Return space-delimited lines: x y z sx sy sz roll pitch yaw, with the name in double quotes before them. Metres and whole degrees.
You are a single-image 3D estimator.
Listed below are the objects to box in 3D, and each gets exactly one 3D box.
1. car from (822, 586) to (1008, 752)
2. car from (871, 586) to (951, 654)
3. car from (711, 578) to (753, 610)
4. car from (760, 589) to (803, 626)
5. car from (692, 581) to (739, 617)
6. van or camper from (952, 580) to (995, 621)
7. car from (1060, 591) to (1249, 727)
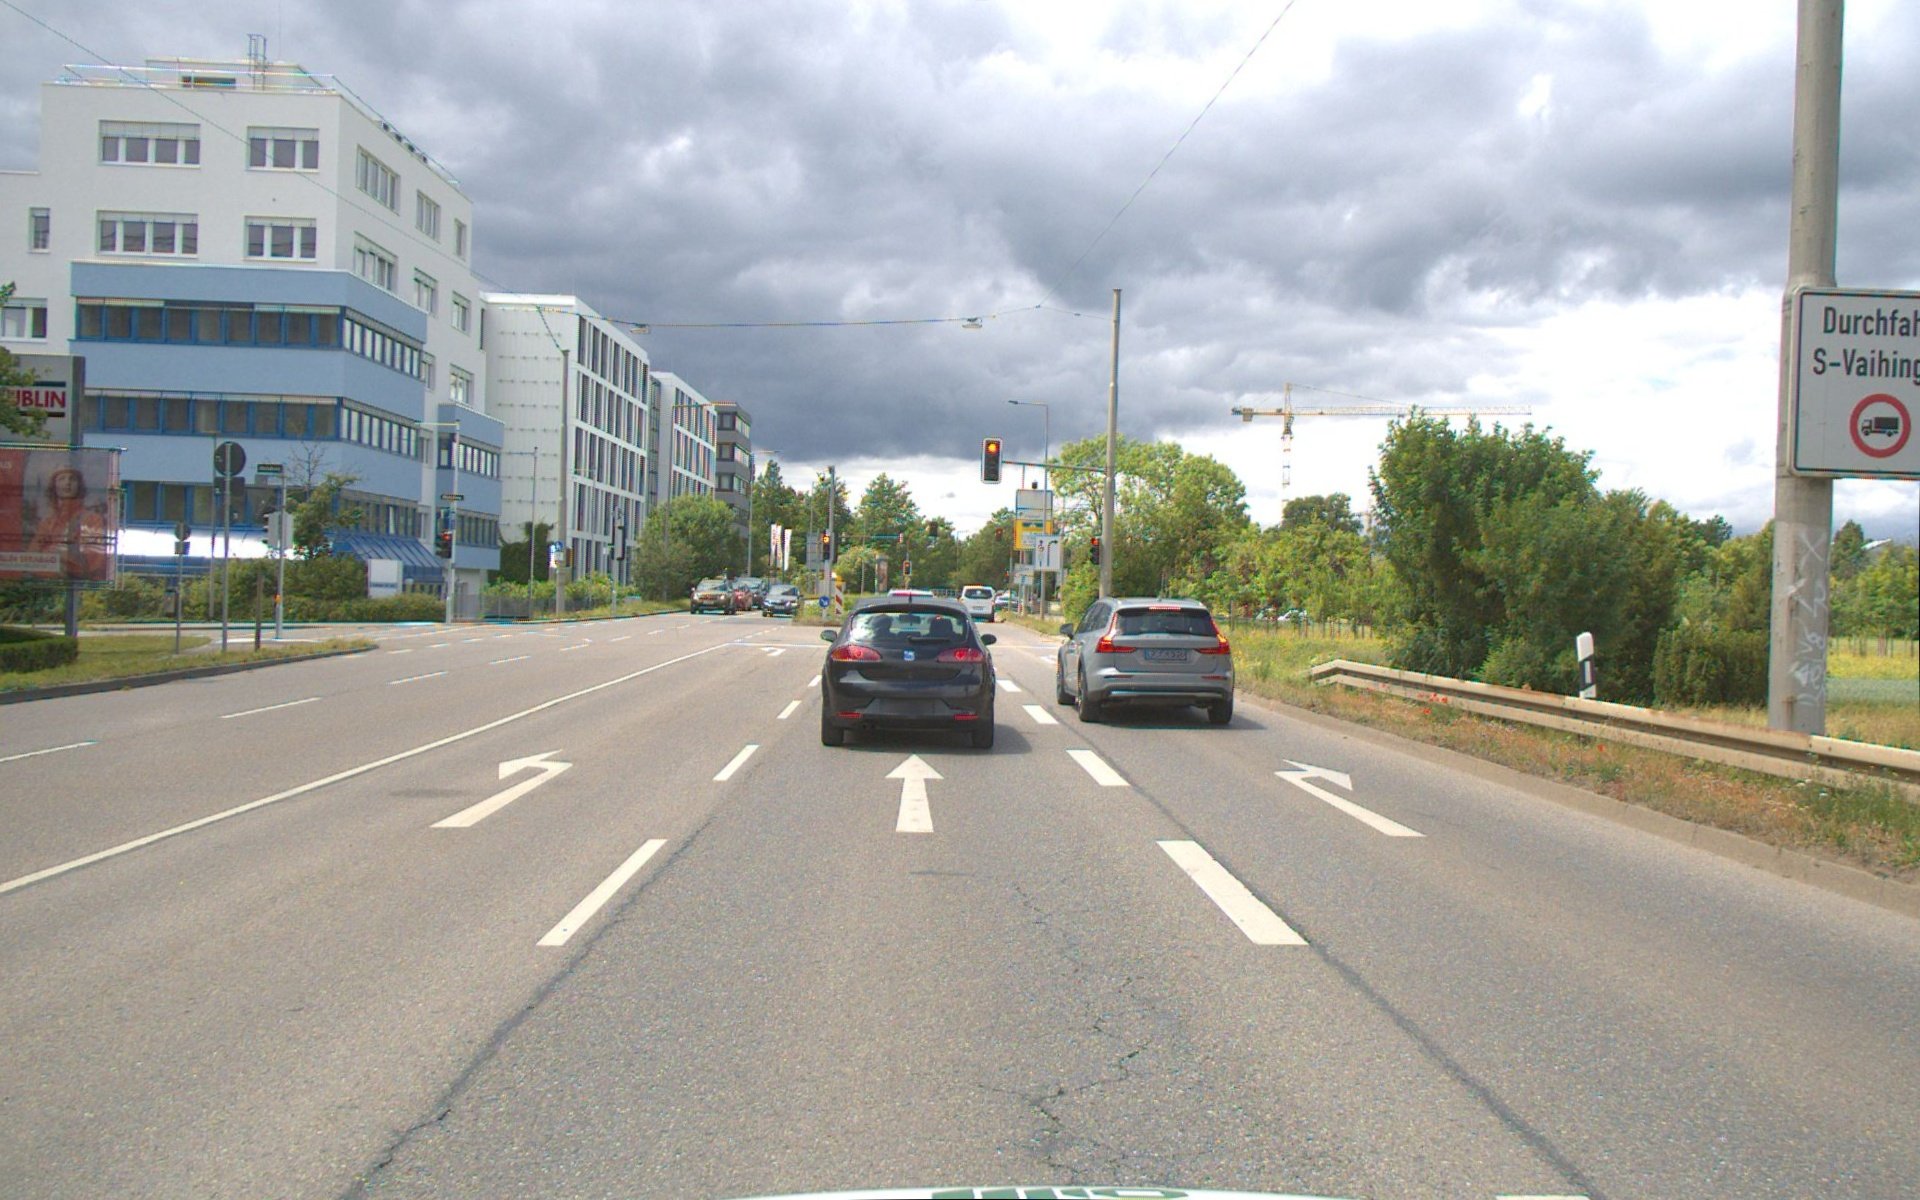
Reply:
"car" -0.376 0.650 17.377 1.712 1.510 4.000 1 0 1
"car" -1.309 0.476 43.310 1.944 1.618 4.224 2 1 -3
"car" -12.008 -0.306 87.293 1.740 1.640 3.998 1 0 -2
"car" -8.160 0.304 75.785 1.635 1.551 4.007 -1 2 -2
"car" -11.385 -0.054 77.118 1.716 1.659 3.998 0 0 -2
"van or camper" 0.720 0.055 88.816 1.862 1.960 3.994 2 -3 -5
"car" 2.356 0.683 21.091 1.918 1.552 4.340 0 0 0
